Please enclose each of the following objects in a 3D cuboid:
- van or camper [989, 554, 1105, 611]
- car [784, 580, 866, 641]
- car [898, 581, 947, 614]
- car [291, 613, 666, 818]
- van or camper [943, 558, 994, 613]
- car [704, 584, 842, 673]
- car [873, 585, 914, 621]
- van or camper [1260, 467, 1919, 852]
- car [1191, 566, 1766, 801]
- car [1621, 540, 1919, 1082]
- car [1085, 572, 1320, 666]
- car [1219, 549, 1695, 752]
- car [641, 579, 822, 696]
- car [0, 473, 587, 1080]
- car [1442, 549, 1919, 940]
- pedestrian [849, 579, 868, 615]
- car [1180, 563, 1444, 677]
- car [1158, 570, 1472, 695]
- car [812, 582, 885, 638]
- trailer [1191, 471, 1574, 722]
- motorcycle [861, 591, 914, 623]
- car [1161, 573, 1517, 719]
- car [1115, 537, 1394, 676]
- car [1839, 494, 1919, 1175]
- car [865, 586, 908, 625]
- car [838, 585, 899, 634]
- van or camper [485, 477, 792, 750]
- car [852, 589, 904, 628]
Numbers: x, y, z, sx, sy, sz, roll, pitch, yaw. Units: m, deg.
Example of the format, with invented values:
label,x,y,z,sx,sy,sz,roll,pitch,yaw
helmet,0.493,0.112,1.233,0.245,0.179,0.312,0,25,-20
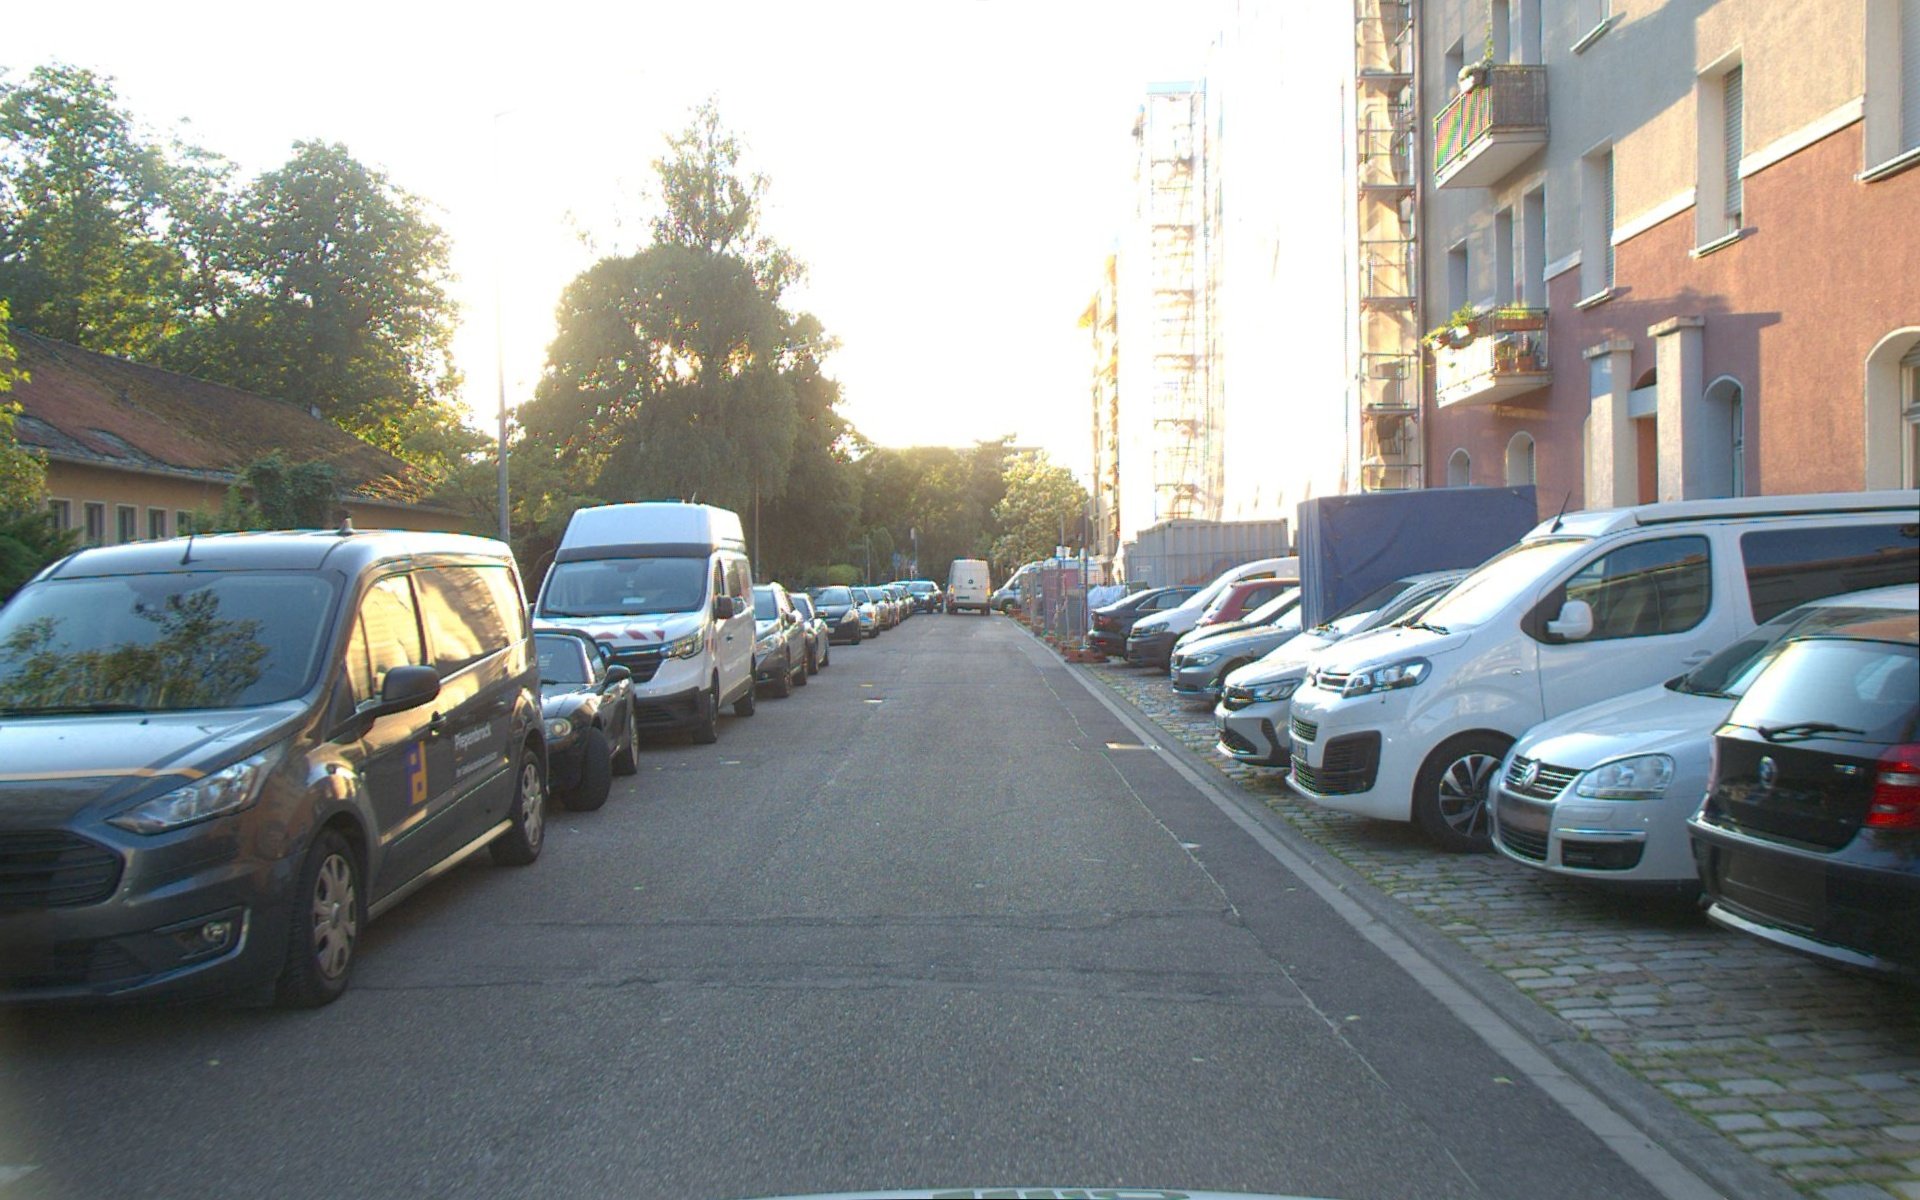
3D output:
label,x,y,z,sx,sy,sz,roll,pitch,yaw
van or camper,4.417,-0.883,84.713,5.808,2.818,2.109,1,0,-1
car,-3.395,0.243,42.323,1.954,1.478,3.998,0,1,-3
car,-1.859,-0.143,83.828,1.766,1.596,4.569,-1,0,7
car,-3.398,0.743,12.502,1.955,1.210,4.032,0,1,-5
van or camper,0.428,-0.717,81.870,2.403,2.591,6.083,1,0,0
car,-3.285,0.456,29.856,1.952,1.478,4.288,0,1,1
car,-2.942,0.119,73.883,1.680,1.522,4.360,-2,0,-1
van or camper,4.443,0.314,10.368,4.735,2.133,2.040,-1,1,-1
car,3.943,0.603,13.101,3.906,1.668,1.999,-1,0,-2
car,4.680,0.575,5.813,3.906,1.556,1.999,-1,0,-2
car,4.383,0.330,30.360,4.067,1.644,1.872,-1,0,1
car,4.594,0.456,15.740,3.906,1.758,1.999,-1,-1,-2
car,-3.236,0.472,24.384,1.952,1.545,4.789,0,1,1
car,-3.169,0.520,7.477,1.871,1.819,4.949,-2,1,-1
car,4.614,0.590,8.094,3.906,1.646,1.999,-1,0,-2
pedestrian,-5.278,-0.147,85.955,0.919,1.862,0.786,0,0,-1
car,5.304,0.279,25.220,3.618,1.638,1.744,-1,0,-2
car,4.789,0.413,22.671,3.885,1.599,1.788,-1,0,-3
car,-3.183,0.259,47.962,1.746,1.471,4.748,-3,0,0
trailer,4.450,-0.055,17.809,3.496,2.377,1.940,-3,1,-3
motorcycle,-3.094,0.281,70.690,2.118,1.326,0.880,0,0,14
car,4.580,0.526,20.367,3.907,1.666,1.902,-1,0,-3
car,4.872,0.073,27.655,4.186,2.014,1.819,-3,2,-8
car,4.303,0.540,3.418,4.020,1.613,1.854,-1,0,-3
car,-2.974,0.202,67.475,1.569,1.456,3.803,-3,0,-1
car,-3.078,0.294,56.427,1.822,1.564,4.758,-2,0,0
van or camper,-3.282,0.086,18.309,1.952,2.499,6.085,-1,1,2
car,-3.017,0.286,61.715,1.625,1.336,4.155,-2,0,1
